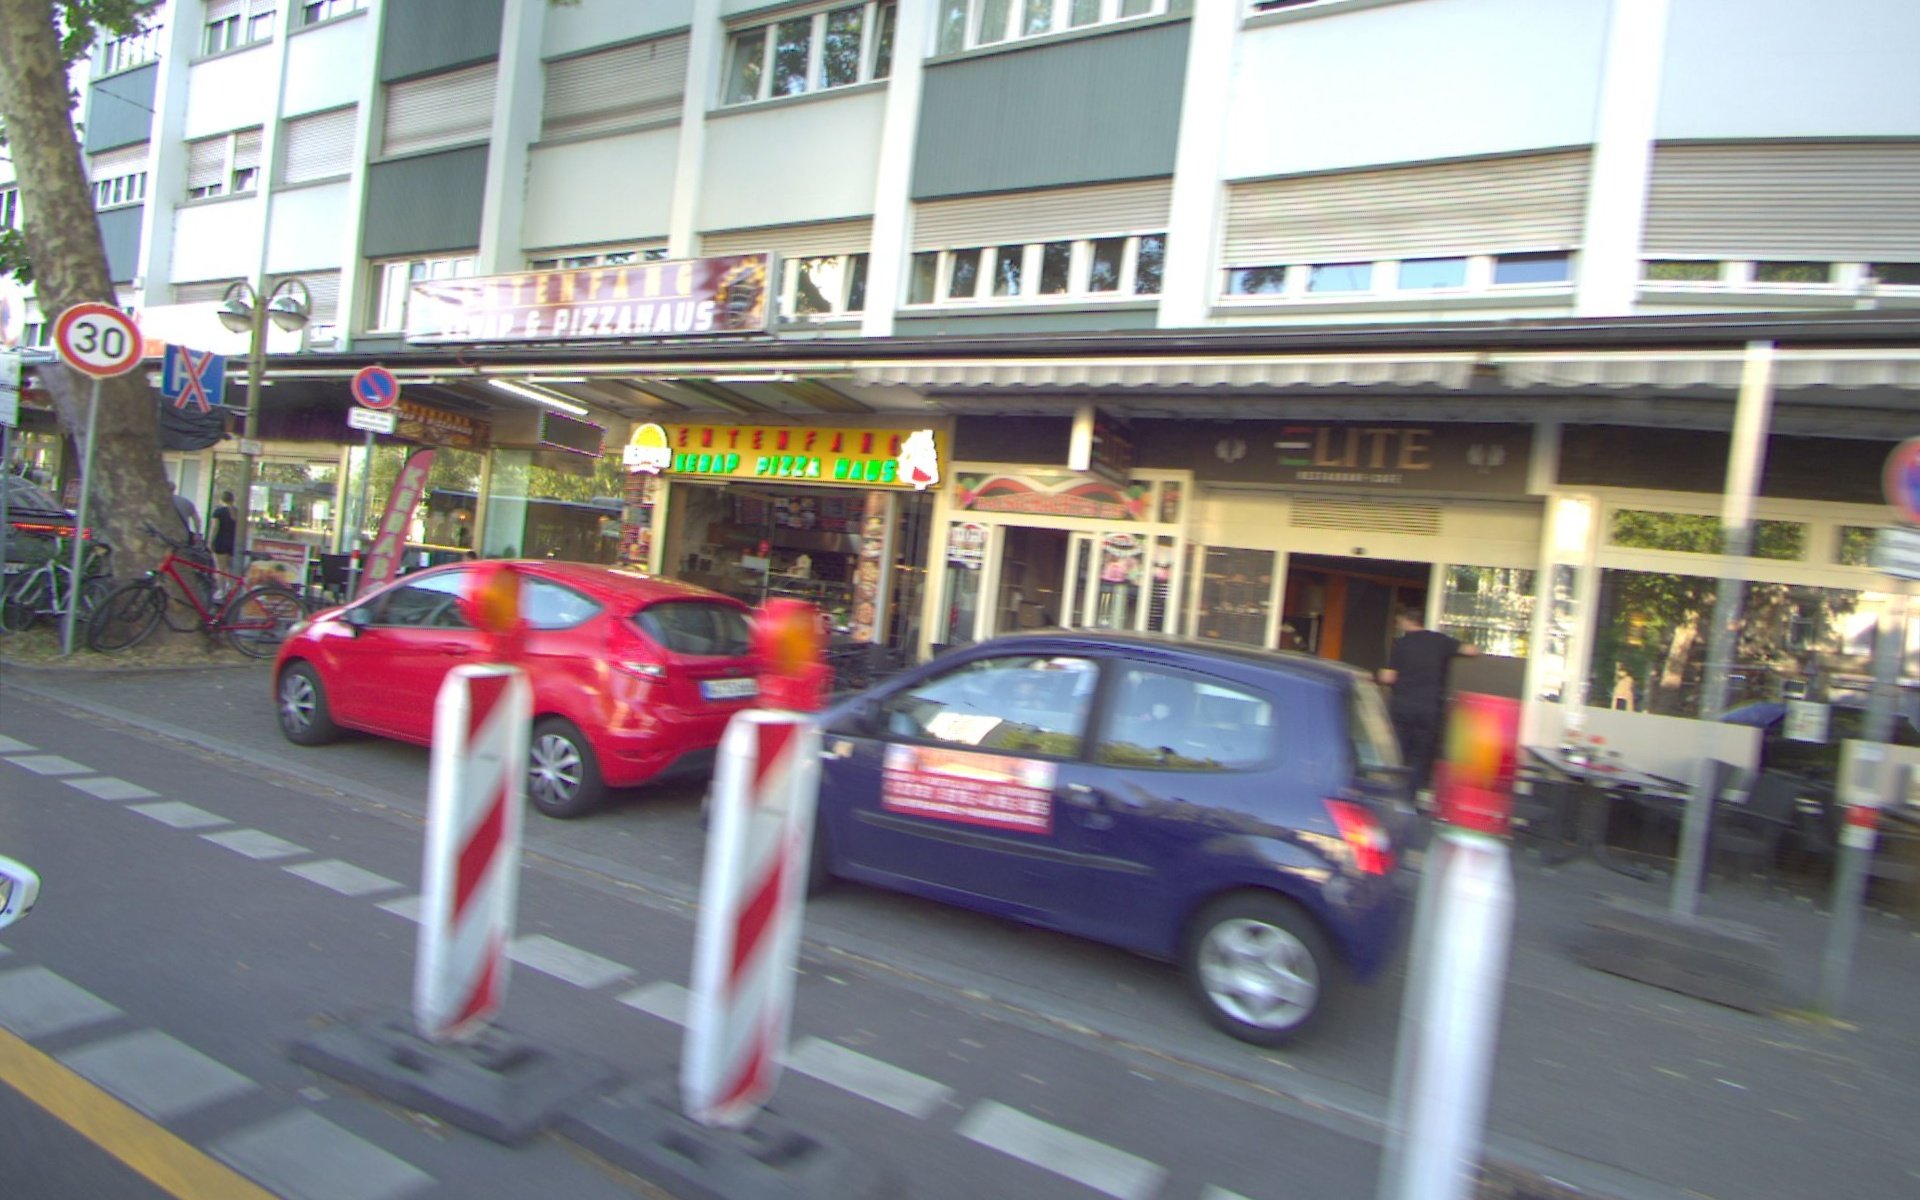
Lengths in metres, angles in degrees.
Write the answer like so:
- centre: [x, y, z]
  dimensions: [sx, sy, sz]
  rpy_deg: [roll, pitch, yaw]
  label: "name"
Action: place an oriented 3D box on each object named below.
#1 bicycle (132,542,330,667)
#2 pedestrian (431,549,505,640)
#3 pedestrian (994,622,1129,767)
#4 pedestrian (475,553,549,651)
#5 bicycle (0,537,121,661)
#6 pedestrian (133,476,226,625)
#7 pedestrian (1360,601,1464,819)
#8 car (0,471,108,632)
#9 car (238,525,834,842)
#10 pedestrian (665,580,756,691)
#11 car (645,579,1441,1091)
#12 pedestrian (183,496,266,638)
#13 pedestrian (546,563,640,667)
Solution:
- centre: [-6.858, 0.059, 9.516]
  dimensions: [0.291, 1.082, 1.456]
  rpy_deg: [12, 7, 41]
  label: "bicycle"
- centre: [-6.996, -0.079, 14.314]
  dimensions: [0.694, 1.220, 0.675]
  rpy_deg: [7, 4, 40]
  label: "pedestrian"
- centre: [1.005, 0.876, 9.817]
  dimensions: [0.766, 1.249, 1.202]
  rpy_deg: [6, 3, 32]
  label: "pedestrian"
- centre: [-6.135, 0.030, 13.777]
  dimensions: [0.701, 1.261, 0.614]
  rpy_deg: [7, 4, 39]
  label: "pedestrian"
- centre: [-8.056, -0.021, 9.001]
  dimensions: [1.110, 0.941, 0.295]
  rpy_deg: [9, 6, 19]
  label: "bicycle"
- centre: [-11.228, -0.699, 14.477]
  dimensions: [0.684, 2.039, 0.692]
  rpy_deg: [7, 1, 29]
  label: "pedestrian"
- centre: [3.914, 0.920, 8.703]
  dimensions: [0.579, 1.759, 0.596]
  rpy_deg: [8, 4, 28]
  label: "pedestrian"
- centre: [-11.540, -0.710, 11.021]
  dimensions: [4.222, 1.619, 1.742]
  rpy_deg: [7, 2, 25]
  label: "car"
- centre: [-2.986, 0.417, 7.021]
  dimensions: [3.779, 1.448, 1.668]
  rpy_deg: [7, 2, 25]
  label: "car"
- centre: [-2.848, 0.390, 11.489]
  dimensions: [0.740, 1.172, 0.593]
  rpy_deg: [6, 3, 31]
  label: "pedestrian"
- centre: [0.373, 0.840, 5.079]
  dimensions: [3.542, 1.486, 1.621]
  rpy_deg: [7, 2, 27]
  label: "car"
- centre: [-11.141, -0.491, 15.242]
  dimensions: [0.684, 2.039, 0.614]
  rpy_deg: [7, 1, 26]
  label: "pedestrian"
- centre: [-4.698, 0.196, 12.888]
  dimensions: [0.688, 1.237, 0.861]
  rpy_deg: [7, 4, 44]
  label: "pedestrian"
